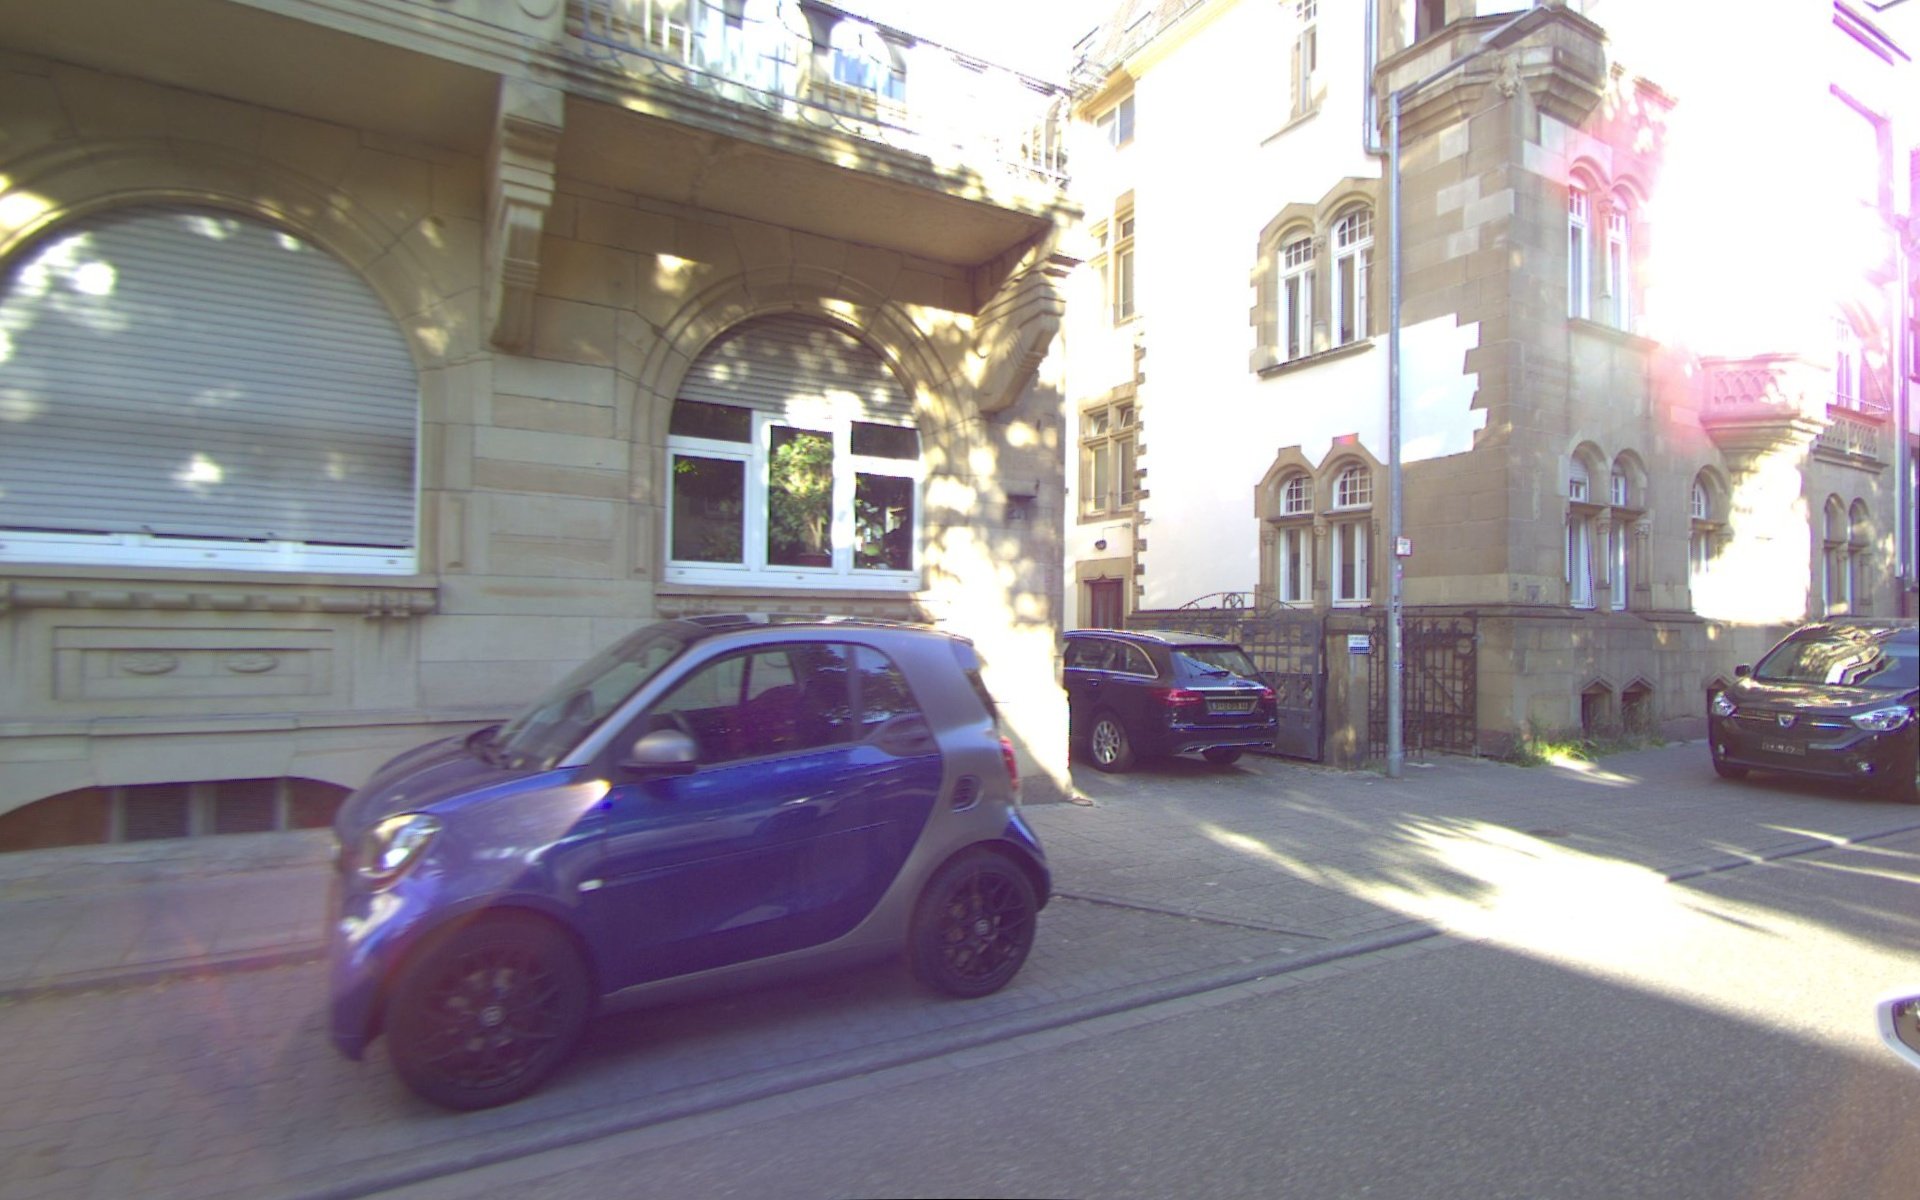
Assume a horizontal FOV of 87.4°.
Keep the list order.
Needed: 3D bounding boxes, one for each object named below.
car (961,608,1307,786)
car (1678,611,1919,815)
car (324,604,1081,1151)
[{"bbox_3d":[1.815,0.977,11.793,1.699,1.690,4.178,1,-2,-31],"label":"car"},{"bbox_3d":[9.768,1.059,10.841,4.302,1.807,1.633,1,0,-30],"label":"car"},{"bbox_3d":[-1.062,0.819,4.257,2.706,1.509,1.587,1,2,-32],"label":"car"}]
